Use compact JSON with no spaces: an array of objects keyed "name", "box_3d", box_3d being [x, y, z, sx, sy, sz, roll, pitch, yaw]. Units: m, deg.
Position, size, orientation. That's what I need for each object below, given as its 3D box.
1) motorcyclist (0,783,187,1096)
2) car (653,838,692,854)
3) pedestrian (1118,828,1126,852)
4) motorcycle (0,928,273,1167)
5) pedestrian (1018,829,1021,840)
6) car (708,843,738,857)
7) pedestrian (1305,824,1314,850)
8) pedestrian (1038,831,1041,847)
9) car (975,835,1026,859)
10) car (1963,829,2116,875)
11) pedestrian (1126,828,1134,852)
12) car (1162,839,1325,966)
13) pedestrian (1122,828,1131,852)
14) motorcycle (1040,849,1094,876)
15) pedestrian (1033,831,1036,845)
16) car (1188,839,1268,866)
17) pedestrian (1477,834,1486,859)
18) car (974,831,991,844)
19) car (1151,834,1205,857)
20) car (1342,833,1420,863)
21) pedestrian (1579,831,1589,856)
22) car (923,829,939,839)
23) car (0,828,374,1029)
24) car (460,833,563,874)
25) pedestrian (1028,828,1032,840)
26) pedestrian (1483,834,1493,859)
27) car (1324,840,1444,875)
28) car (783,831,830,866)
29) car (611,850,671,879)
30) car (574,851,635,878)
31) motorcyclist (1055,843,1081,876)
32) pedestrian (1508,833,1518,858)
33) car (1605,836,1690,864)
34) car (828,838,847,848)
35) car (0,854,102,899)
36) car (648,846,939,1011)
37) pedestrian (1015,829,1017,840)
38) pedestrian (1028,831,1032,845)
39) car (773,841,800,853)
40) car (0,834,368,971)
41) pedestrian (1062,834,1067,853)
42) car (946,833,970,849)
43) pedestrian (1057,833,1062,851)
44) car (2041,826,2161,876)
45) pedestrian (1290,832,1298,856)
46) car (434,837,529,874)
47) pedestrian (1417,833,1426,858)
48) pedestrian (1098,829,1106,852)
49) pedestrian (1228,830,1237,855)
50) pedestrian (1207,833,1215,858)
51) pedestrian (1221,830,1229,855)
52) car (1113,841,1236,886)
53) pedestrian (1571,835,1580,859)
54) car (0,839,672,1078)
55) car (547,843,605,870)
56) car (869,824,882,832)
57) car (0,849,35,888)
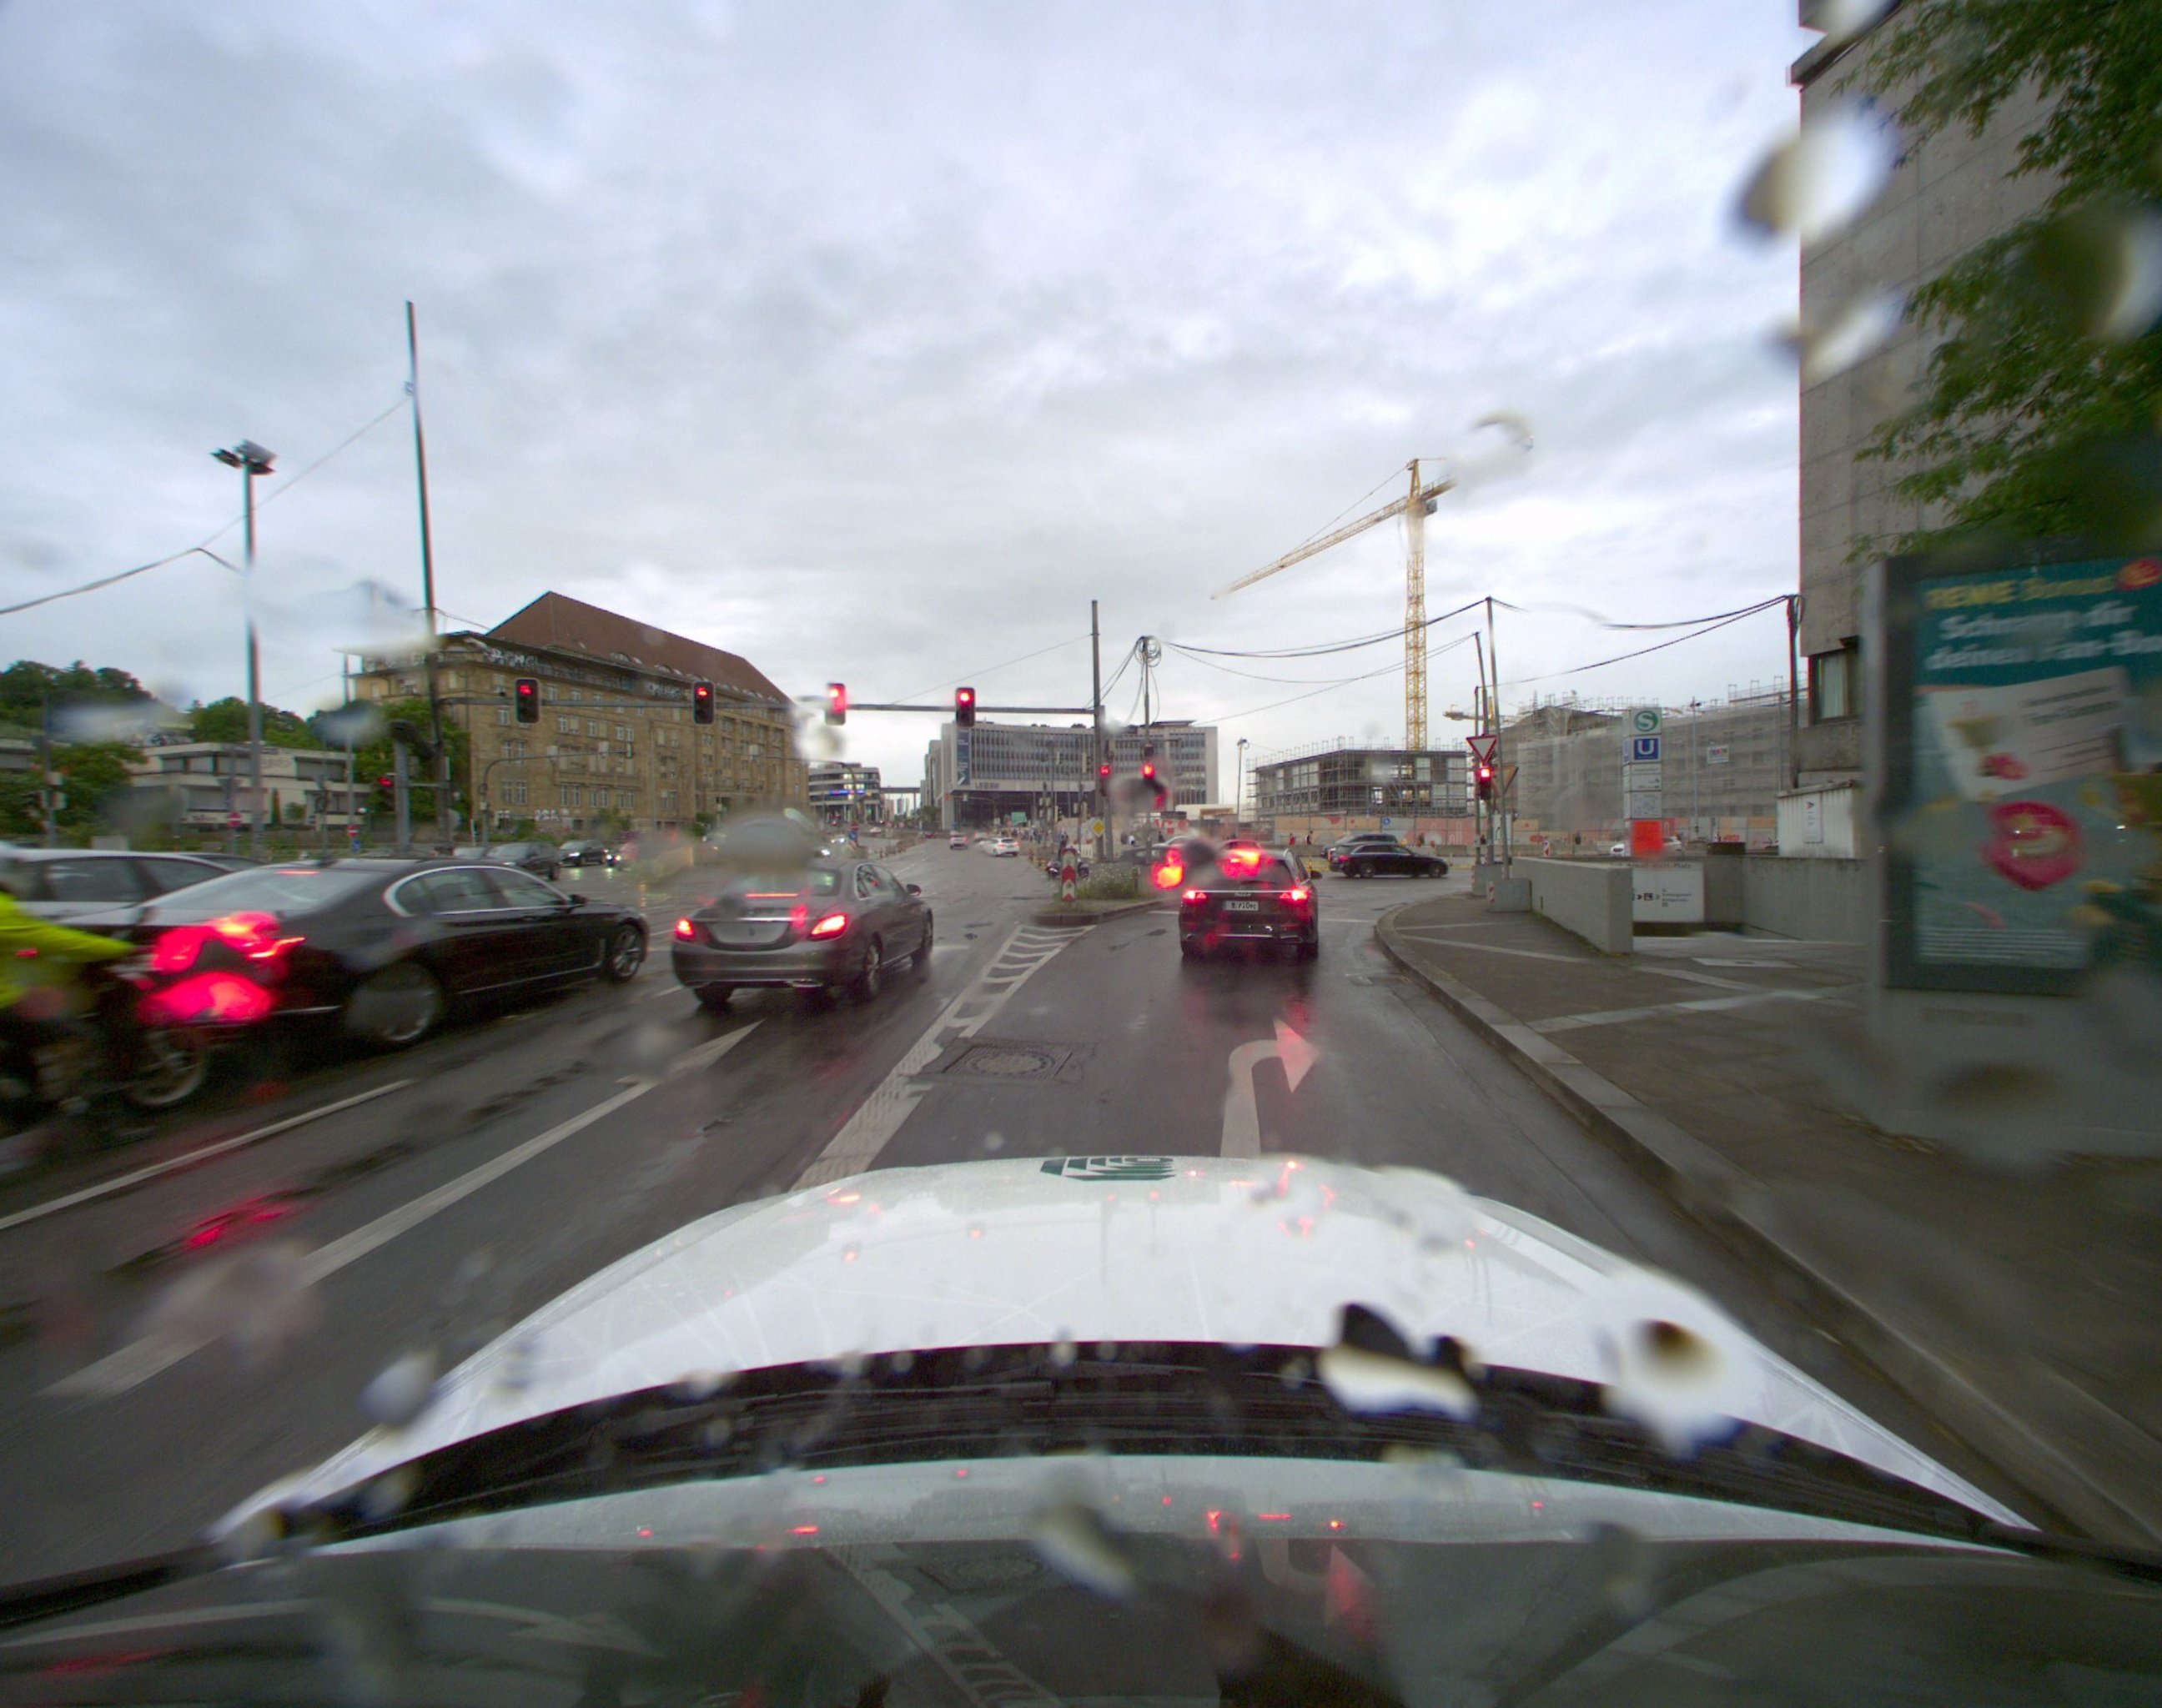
[{"name":"motorcyclist","box_3d":[-5.571,0.402,4.086,0.940,1.475,1.098,0,-1,-5]},{"name":"car","box_3d":[-33.545,-0.620,66.938,1.622,1.260,3.989,0,0,-8]},{"name":"pedestrian","box_3d":[3.261,-1.099,64.791,0.364,1.898,0.570,1,-1,-38]},{"name":"motorcycle","box_3d":[-5.572,0.972,4.050,0.940,0.989,2.290,0,0,-5]},{"name":"pedestrian","box_3d":[-10.653,-3.296,140.841,0.361,1.898,0.574,0,-1,-11]},{"name":"car","box_3d":[-34.318,-0.384,78.125,1.736,1.260,3.321,0,0,-8]},{"name":"pedestrian","box_3d":[17.291,-1.281,61.606,0.572,1.898,0.362,0,-1,2]},{"name":"pedestrian","box_3d":[-4.960,-1.771,97.384,0.361,1.898,0.574,0,-1,-11]},{"name":"car","box_3d":[-6.215,-0.495,62.486,2.008,1.766,4.372,1,0,-34]},{"name":"car","box_3d":[35.794,-0.064,30.459,3.988,1.640,1.993,0,0,-11]},{"name":"pedestrian","box_3d":[3.931,-1.094,65.281,0.364,1.898,0.570,1,-1,-40]},{"name":"car","box_3d":[2.582,0.604,12.120,1.876,1.544,4.012,0,0,18]},{"name":"pedestrian","box_3d":[3.609,-1.089,65.032,0.364,1.898,0.570,-1,0,-38]},{"name":"motorcycle","box_3d":[-0.560,0.355,33.834,2.123,1.108,0.853,0,-1,9]},{"name":"pedestrian","box_3d":[-6.336,-2.206,110.918,0.361,1.898,0.574,0,-1,-11]},{"name":"car","box_3d":[7.163,-0.065,39.786,3.537,1.304,1.659,0,0,-13]},{"name":"pedestrian","box_3d":[31.472,-0.593,63.998,0.574,1.898,0.361,0,-1,-7]},{"name":"car","box_3d":[-12.891,-2.185,106.757,1.731,1.639,3.417,0,3,-15]},{"name":"car","box_3d":[6.469,-0.556,54.658,3.532,1.473,1.788,0,0,3]},{"name":"car","box_3d":[18.037,-0.323,49.093,3.987,1.734,1.993,0,0,-10]},{"name":"pedestrian","box_3d":[38.507,-0.813,62.381,0.573,1.898,0.362,0,-1,-5]},{"name":"car","box_3d":[-31.333,-4.236,170.346,2.006,2.014,3.961,0,0,-30]},{"name":"car","box_3d":[-9.545,0.601,7.970,1.727,1.616,3.999,0,0,0]},{"name":"car","box_3d":[-23.383,-0.006,33.636,1.801,1.574,4.063,0,0,-8]},{"name":"pedestrian","box_3d":[-8.047,-3.249,129.412,0.519,1.898,0.574,0,-1,-11]},{"name":"pedestrian","box_3d":[31.567,-0.598,63.134,0.574,1.898,0.361,0,-1,-7]},{"name":"car","box_3d":[12.063,0.158,32.635,4.084,1.345,2.000,0,0,1]},{"name":"car","box_3d":[-15.387,-0.277,45.530,2.003,1.797,5.061,0,0,-24]},{"name":"car","box_3d":[-24.849,0.567,46.142,1.697,1.574,3.989,0,0,-8]},{"name":"car","box_3d":[-27.925,0.591,47.848,1.696,1.519,3.547,-2,0,-6]},{"name":"motorcyclist","box_3d":[-0.533,0.227,33.836,0.939,1.358,0.852,0,-1,9]},{"name":"pedestrian","box_3d":[32.591,-0.612,61.494,0.573,1.898,0.362,0,-1,-5]},{"name":"car","box_3d":[33.433,-0.215,48.096,4.044,1.552,1.991,0,0,-13]},{"name":"car","box_3d":[-33.328,-1.547,111.596,1.765,1.260,3.992,0,0,-6]},{"name":"car","box_3d":[-40.518,0.818,30.527,4.399,1.662,1.985,0,0,-23]},{"name":"car","box_3d":[-2.963,0.648,9.542,1.777,1.402,4.487,0,2,0]},{"name":"pedestrian","box_3d":[-11.272,-3.295,140.690,0.361,1.898,0.574,0,-1,-11]},{"name":"pedestrian","box_3d":[-6.929,-2.228,110.817,0.361,1.898,0.574,0,-1,-11]},{"name":"car","box_3d":[-31.845,-0.720,88.180,1.765,1.260,4.185,0,0,-6]},{"name":"car","box_3d":[-13.105,0.581,11.680,1.772,1.599,4.083,0,0,10]},{"name":"pedestrian","box_3d":[-1.595,-1.001,78.257,0.362,1.898,0.573,0,-1,-19]},{"name":"car","box_3d":[-13.514,-1.443,89.065,1.999,1.640,3.976,0,0,-18]},{"name":"pedestrian","box_3d":[-2.314,-1.262,86.447,0.362,1.898,0.573,0,-1,-15]},{"name":"car","box_3d":[35.911,-0.081,28.061,3.988,1.640,1.993,0,0,-11]},{"name":"pedestrian","box_3d":[16.683,-0.776,63.708,0.572,1.898,0.362,0,-1,2]},{"name":"car","box_3d":[-26.695,0.063,36.403,1.697,1.574,3.989,0,0,-8]},{"name":"pedestrian","box_3d":[26.058,-0.620,62.341,0.573,1.898,0.362,0,-1,-5]},{"name":"pedestrian","box_3d":[1.703,-1.099,66.033,0.364,1.898,0.570,1,-1,-40]},{"name":"pedestrian","box_3d":[11.587,-0.840,62.215,0.573,1.898,0.362,0,-1,-1]},{"name":"pedestrian","box_3d":[10.153,-0.671,63.606,0.570,1.898,0.364,0,-1,20]},{"name":"pedestrian","box_3d":[11.235,-0.909,63.342,0.572,1.898,0.362,0,-1,3]},{"name":"car","box_3d":[3.241,0.327,28.251,4.078,1.507,2.003,0,0,6]},{"name":"pedestrian","box_3d":[39.722,-0.558,65.418,0.574,1.898,0.361,0,-1,-7]},{"name":"car","box_3d":[-6.095,0.678,7.690,1.880,1.515,5.002,0,0,1]},{"name":"car","box_3d":[-32.176,0.182,51.967,1.622,1.646,3.989,0,0,-8]},{"name":"car","box_3d":[-50.416,-6.403,199.849,2.008,1.816,3.957,1,-1,-35]},{"name":"car","box_3d":[-57.980,0.725,42.138,4.233,2.014,1.983,0,-1,-26]}]
